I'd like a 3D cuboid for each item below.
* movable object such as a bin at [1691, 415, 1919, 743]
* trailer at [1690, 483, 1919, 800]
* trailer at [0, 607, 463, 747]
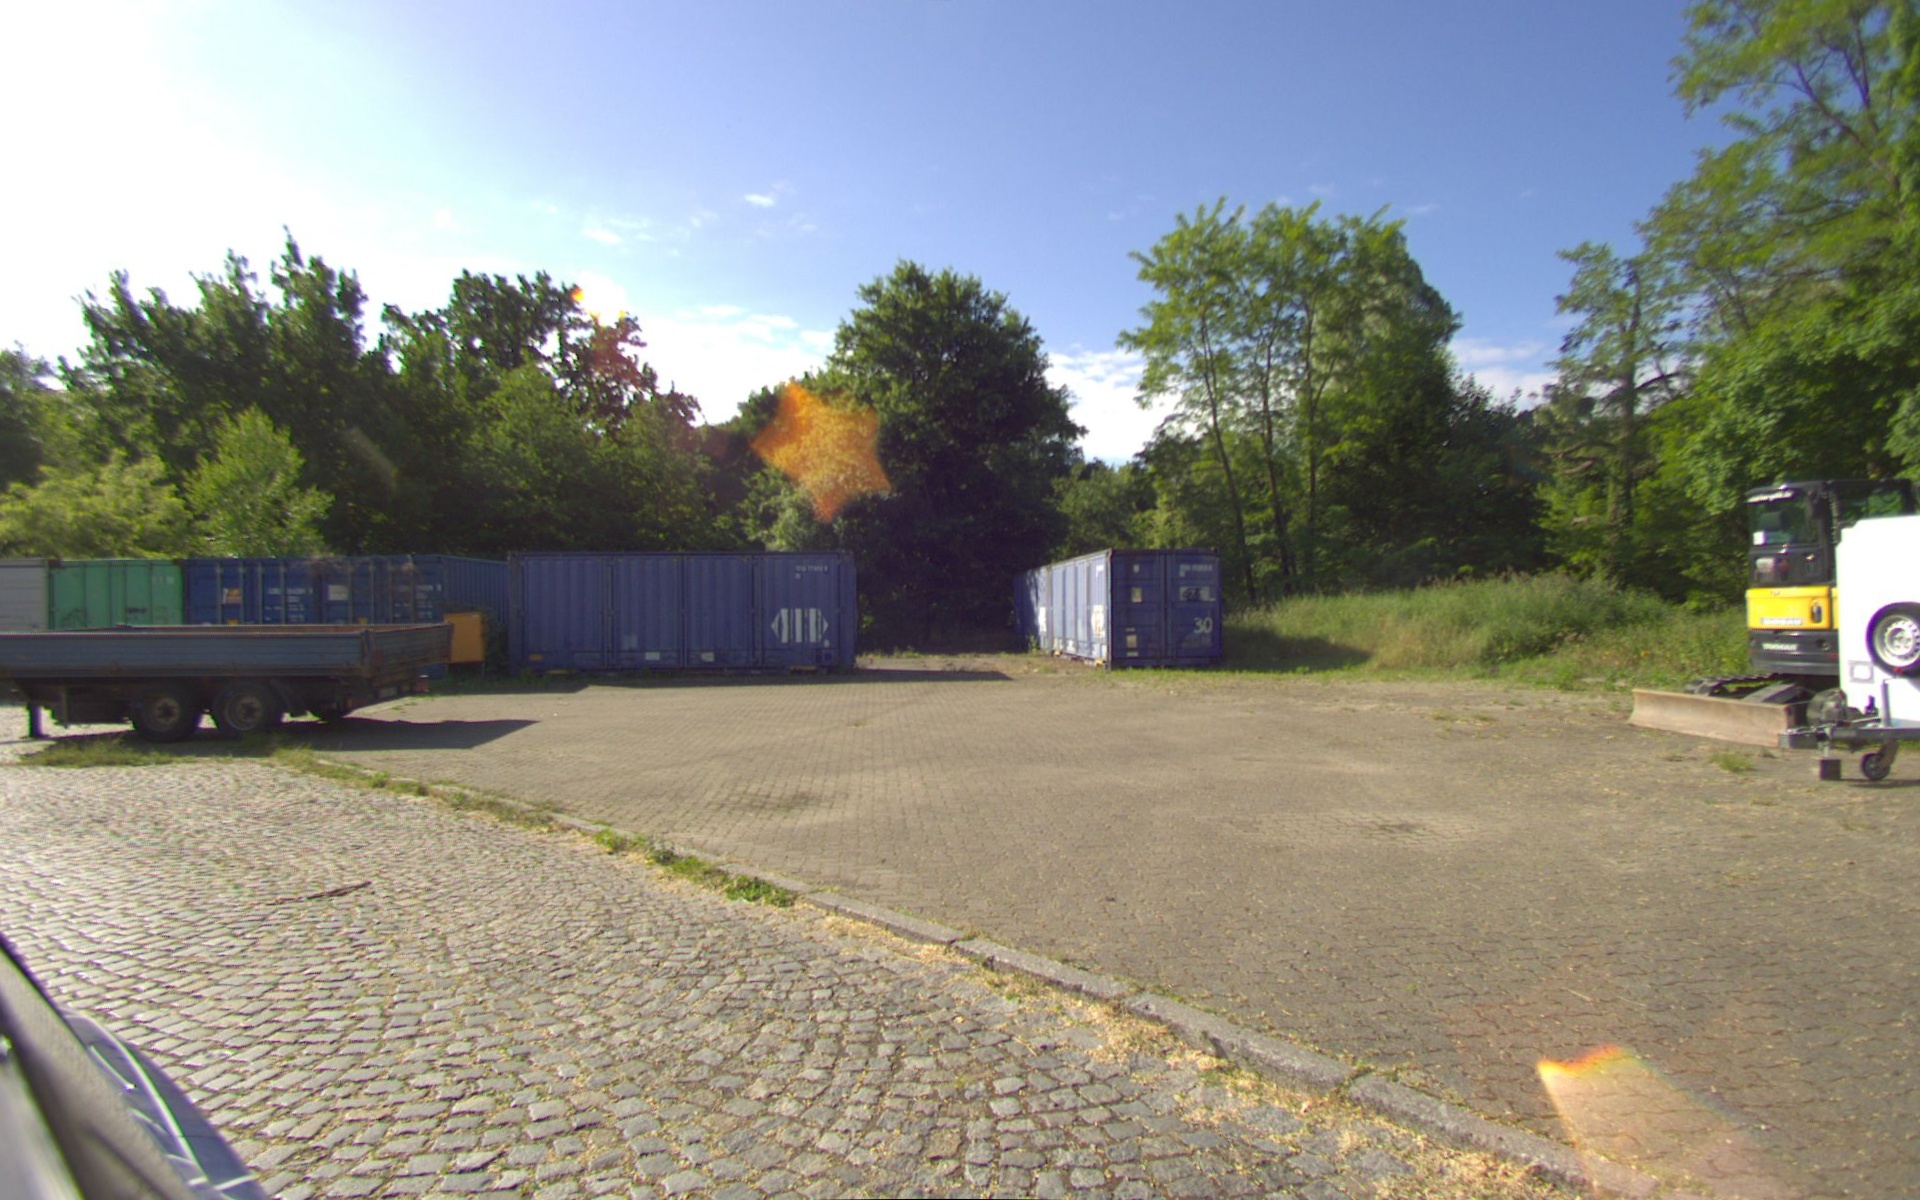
[{"bbox_3d":[10.713,-0.209,10.229,5.092,2.988,2.000,-1,-1,0],"label":"movable object such as a bin"},{"bbox_3d":[8.112,0.218,7.687,3.913,2.109,1.641,-2,-1,-4],"label":"trailer"},{"bbox_3d":[-10.509,0.947,13.476,6.394,1.529,2.859,-1,0,-5],"label":"trailer"}]
